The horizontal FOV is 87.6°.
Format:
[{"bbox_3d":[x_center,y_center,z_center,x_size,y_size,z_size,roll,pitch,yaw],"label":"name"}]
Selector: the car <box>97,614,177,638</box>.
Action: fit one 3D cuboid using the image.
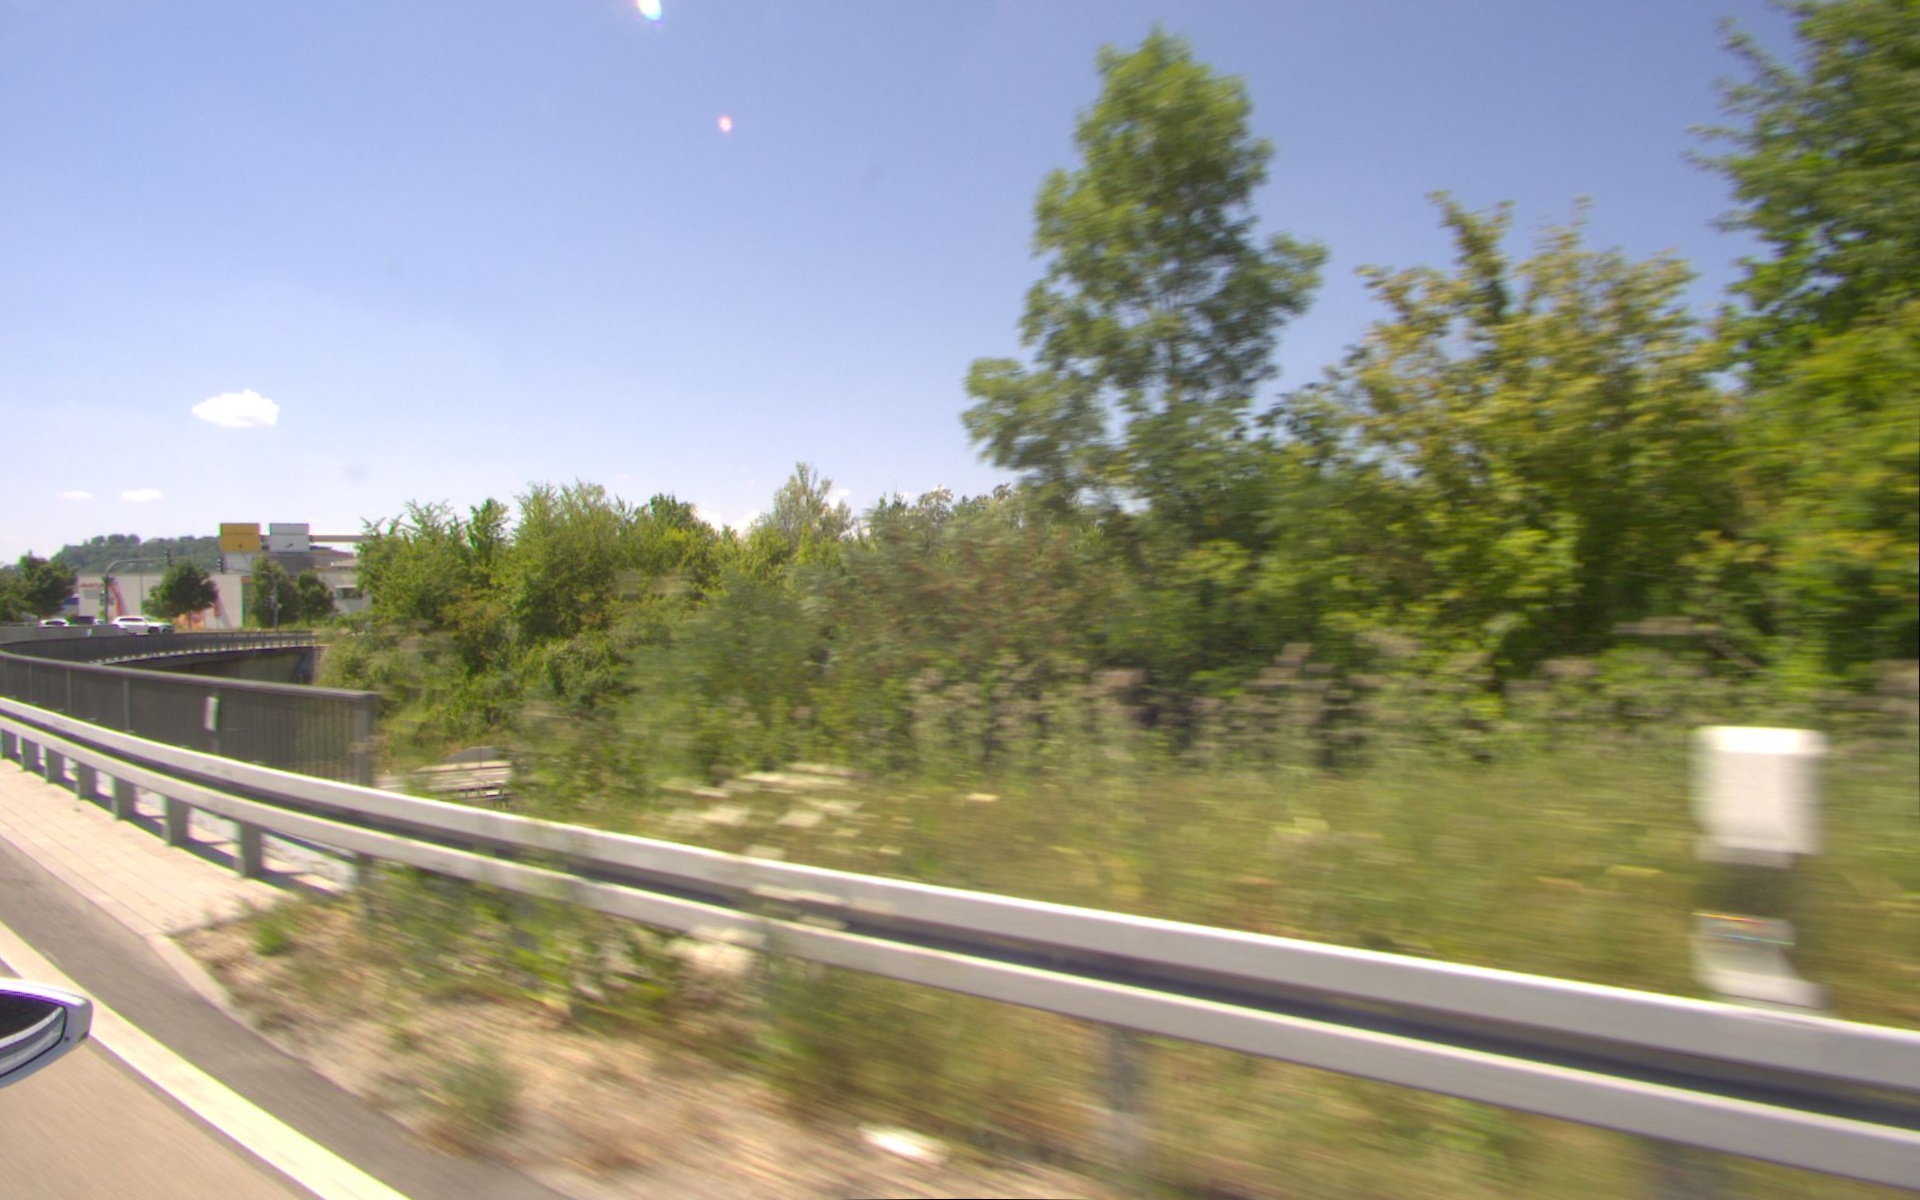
[{"bbox_3d":[-69.776,2.220,84.975,4.777,1.990,2.099,1,-2,-16],"label":"car"}]
